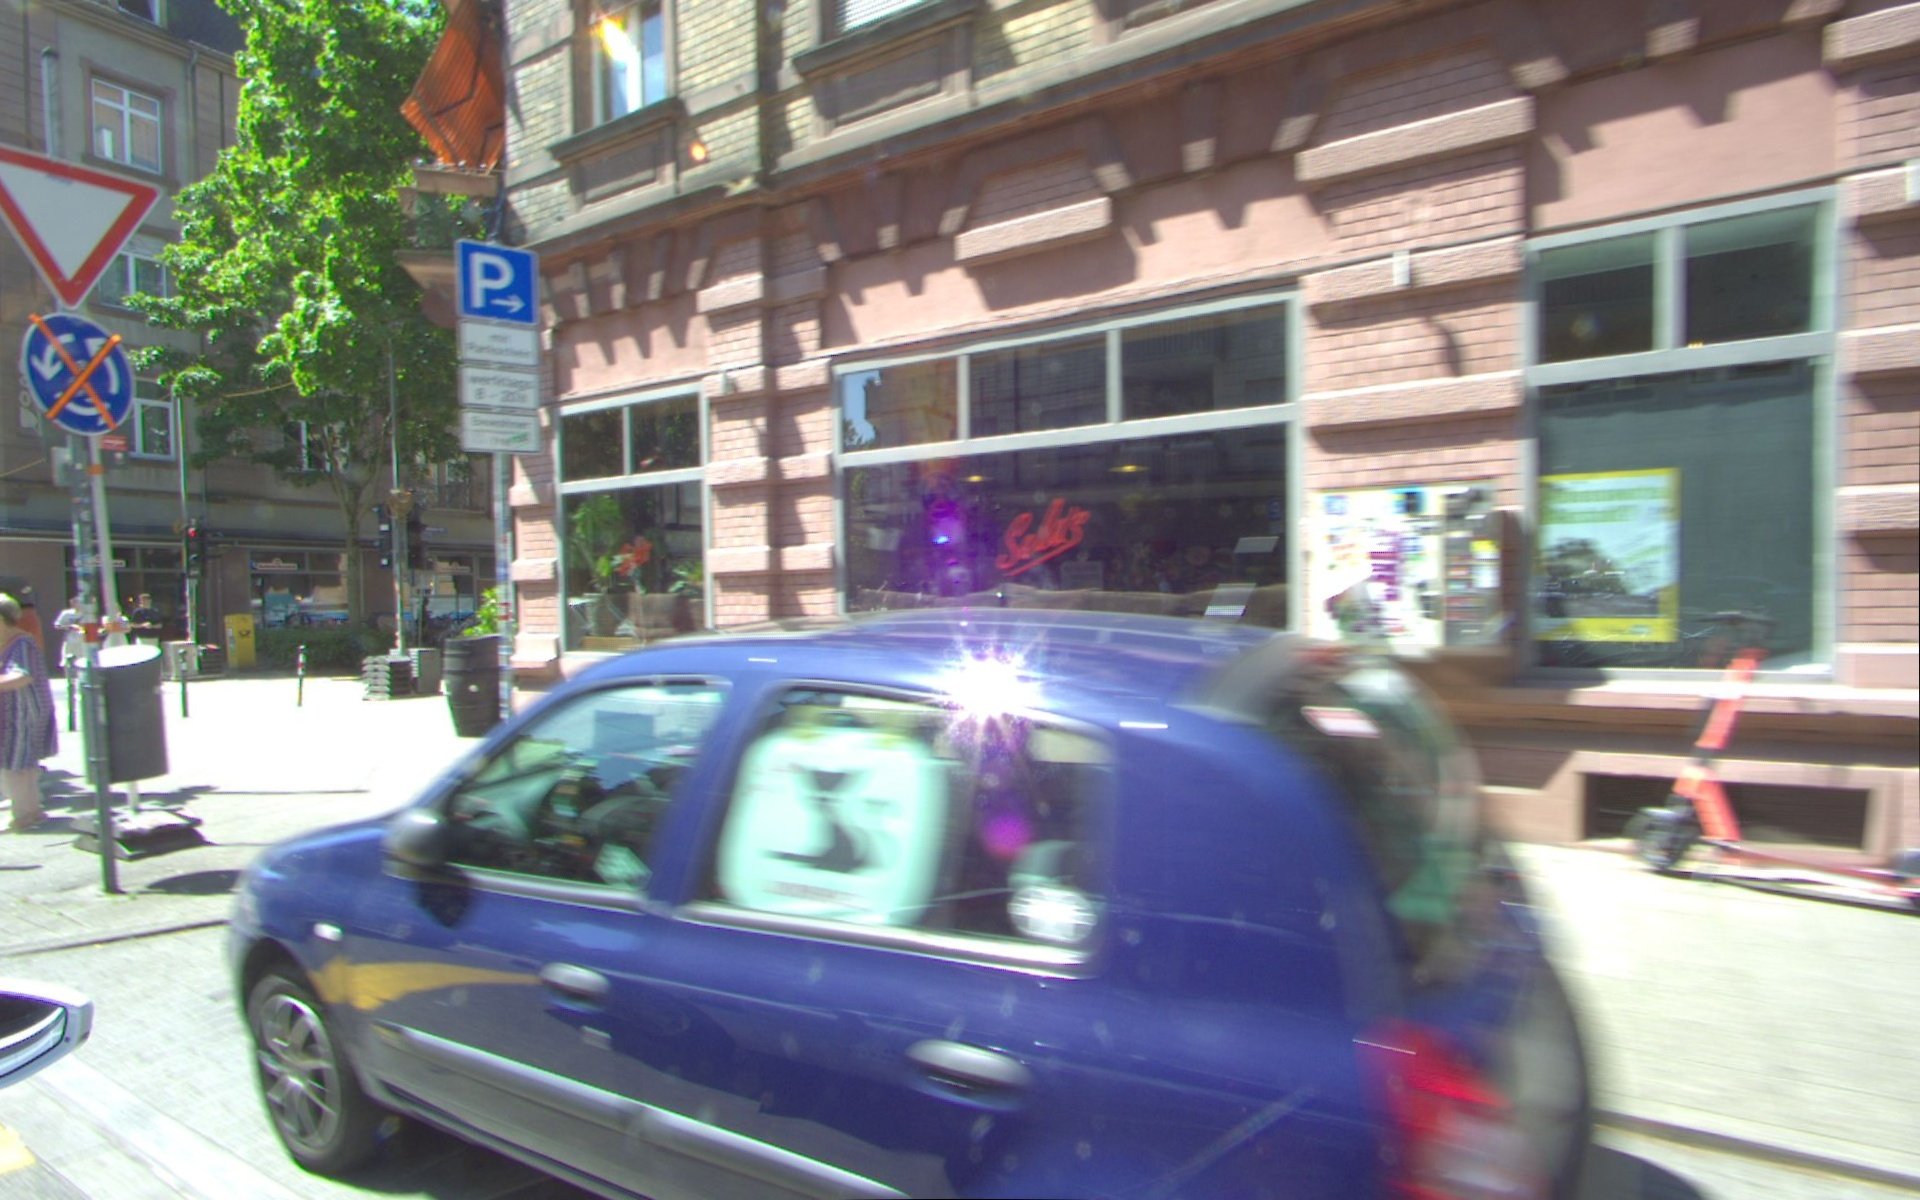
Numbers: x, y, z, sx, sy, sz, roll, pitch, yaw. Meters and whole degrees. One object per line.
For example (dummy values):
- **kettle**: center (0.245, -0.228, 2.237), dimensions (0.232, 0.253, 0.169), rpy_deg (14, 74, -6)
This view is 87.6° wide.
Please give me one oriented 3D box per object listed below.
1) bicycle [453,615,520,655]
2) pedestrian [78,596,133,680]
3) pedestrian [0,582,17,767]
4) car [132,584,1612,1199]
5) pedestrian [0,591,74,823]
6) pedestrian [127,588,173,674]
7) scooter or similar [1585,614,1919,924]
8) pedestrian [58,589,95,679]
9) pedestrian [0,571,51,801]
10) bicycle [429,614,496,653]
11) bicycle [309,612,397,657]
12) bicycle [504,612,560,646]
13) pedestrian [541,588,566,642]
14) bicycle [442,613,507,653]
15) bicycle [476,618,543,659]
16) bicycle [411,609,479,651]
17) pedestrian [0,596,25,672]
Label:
- **bicycle**: center (-12.934, 0.937, 27.400), dimensions (0.463, 1.010, 1.758), rpy_deg (2, 2, 28)
- **pedestrian**: center (-17.752, 0.771, 20.807), dimensions (0.415, 1.669, 0.701), rpy_deg (3, 5, 24)
- **pedestrian**: center (-8.459, 0.637, 8.585), dimensions (0.473, 1.581, 0.457), rpy_deg (0, 1, 38)
- **car**: center (-0.438, 0.728, 2.712), dimensions (3.606, 1.451, 1.624), rpy_deg (-1, 2, 31)
- **pedestrian**: center (-6.617, 0.728, 6.996), dimensions (0.431, 1.564, 0.490), rpy_deg (0, 3, 38)
- **pedestrian**: center (-17.474, 0.655, 21.613), dimensions (0.463, 1.794, 0.575), rpy_deg (3, 5, 24)
- **scooter or similar**: center (3.443, 0.660, 4.300), dimensions (1.257, 1.193, 0.291), rpy_deg (0, 1, 42)
- **pedestrian**: center (-17.518, 0.666, 19.866), dimensions (0.473, 1.755, 0.865), rpy_deg (-1, 0, -38)
- **pedestrian**: center (-7.185, 0.634, 7.598), dimensions (0.396, 1.698, 0.331), rpy_deg (0, 1, 38)
- **bicycle**: center (-14.004, 0.933, 28.244), dimensions (0.463, 1.010, 1.758), rpy_deg (2, 2, 28)
- **bicycle**: center (-16.456, 0.906, 27.165), dimensions (1.965, 1.147, 0.512), rpy_deg (-1, 1, -41)
- **bicycle**: center (-13.708, 0.910, 32.093), dimensions (0.463, 1.010, 1.758), rpy_deg (2, 2, 28)
- **pedestrian**: center (-12.368, 0.459, 30.467), dimensions (0.552, 1.636, 0.489), rpy_deg (0, 2, 37)
- **bicycle**: center (-13.390, 0.889, 27.674), dimensions (0.463, 1.019, 1.682), rpy_deg (2, 2, 28)
- **bicycle**: center (-12.223, 1.031, 27.205), dimensions (0.463, 1.010, 1.758), rpy_deg (2, 2, 28)
- **bicycle**: center (-14.546, 0.823, 28.312), dimensions (0.463, 1.095, 1.758), rpy_deg (2, 2, 28)
- **pedestrian**: center (-21.111, 0.742, 21.926), dimensions (0.793, 1.645, 0.639), rpy_deg (-1, 1, -32)
